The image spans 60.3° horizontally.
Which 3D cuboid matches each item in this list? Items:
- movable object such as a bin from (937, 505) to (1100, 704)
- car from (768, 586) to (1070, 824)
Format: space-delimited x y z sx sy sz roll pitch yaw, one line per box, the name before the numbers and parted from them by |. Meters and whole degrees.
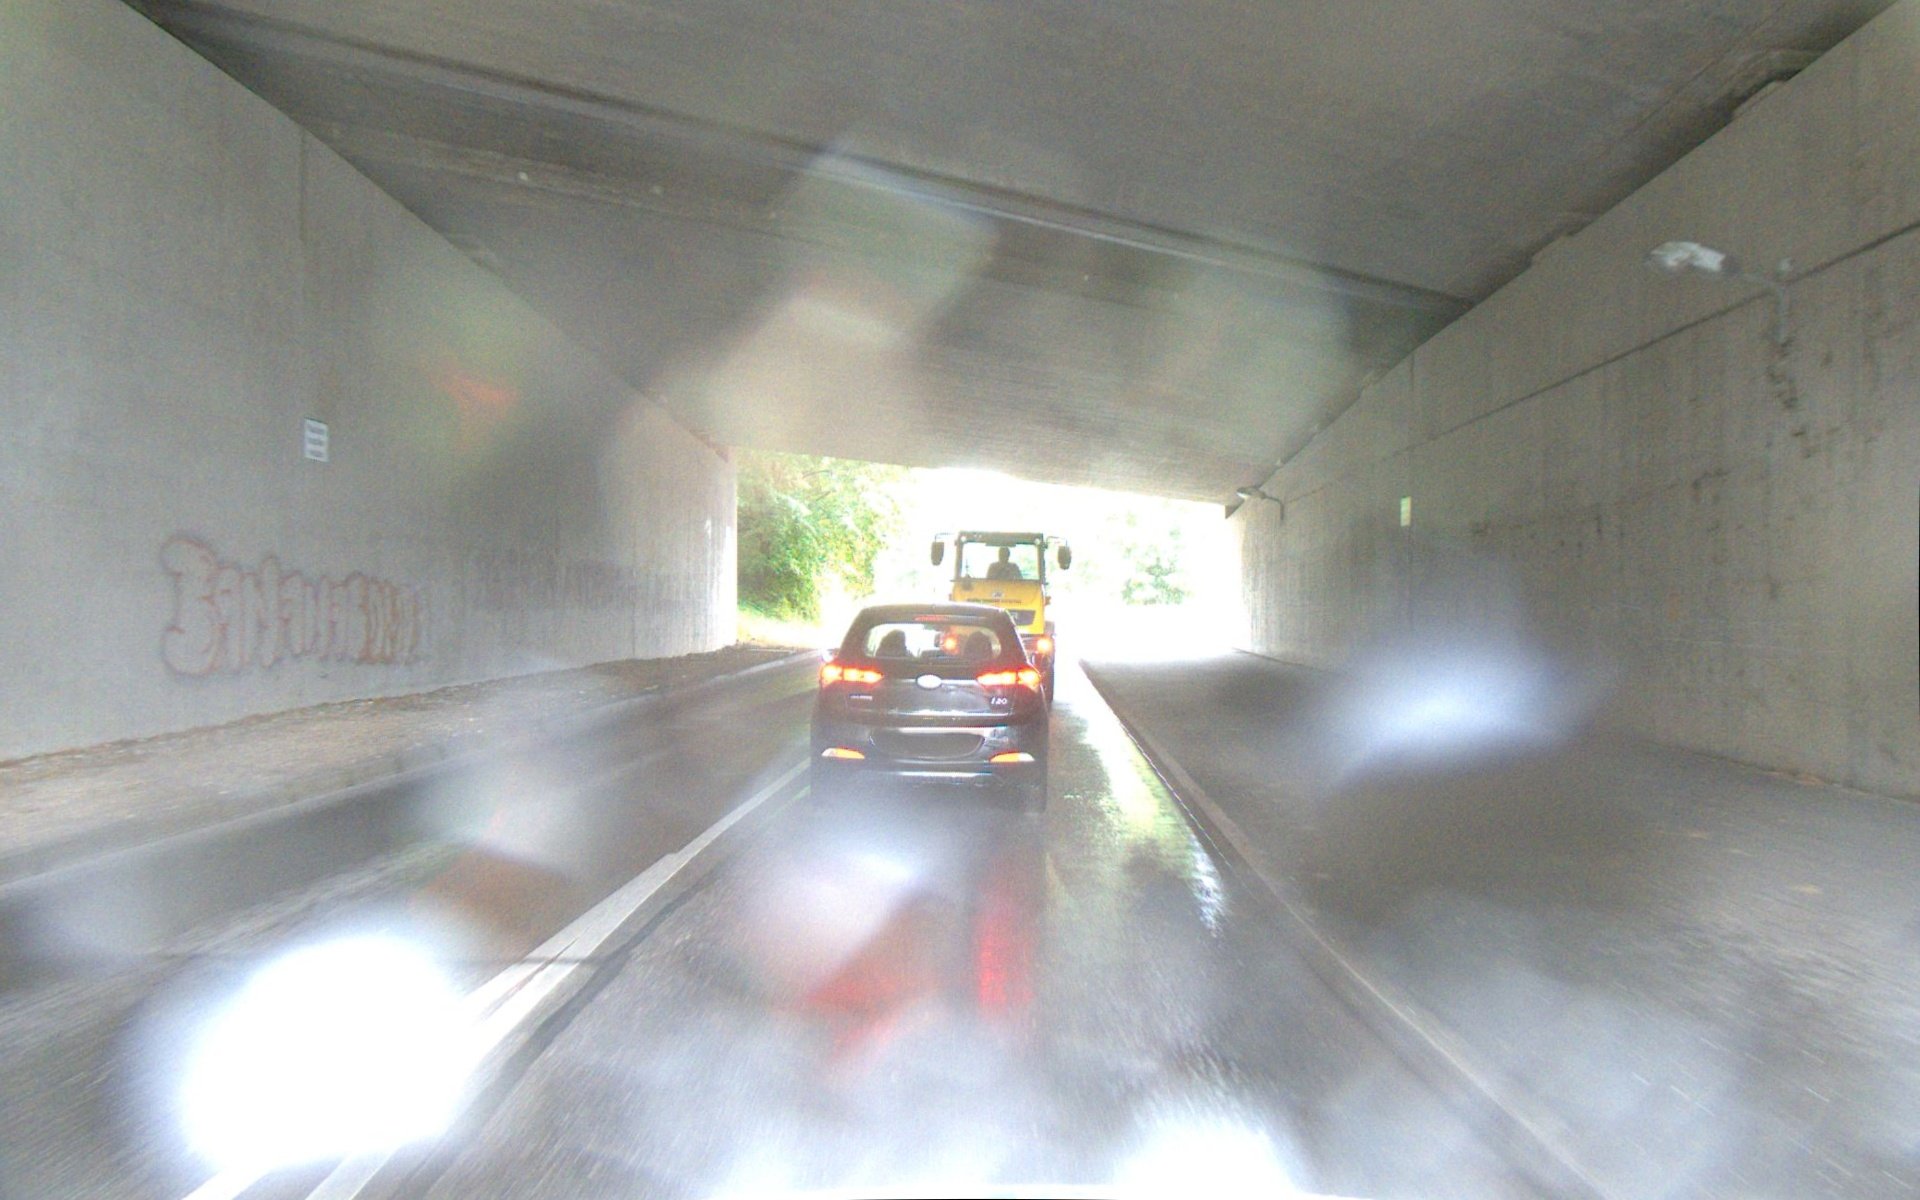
movable object such as a bin | 0.906 0.057 26.568 2.199 2.716 6.627 2 0 1
car | -0.301 0.695 12.975 1.953 1.513 3.999 2 0 -1
